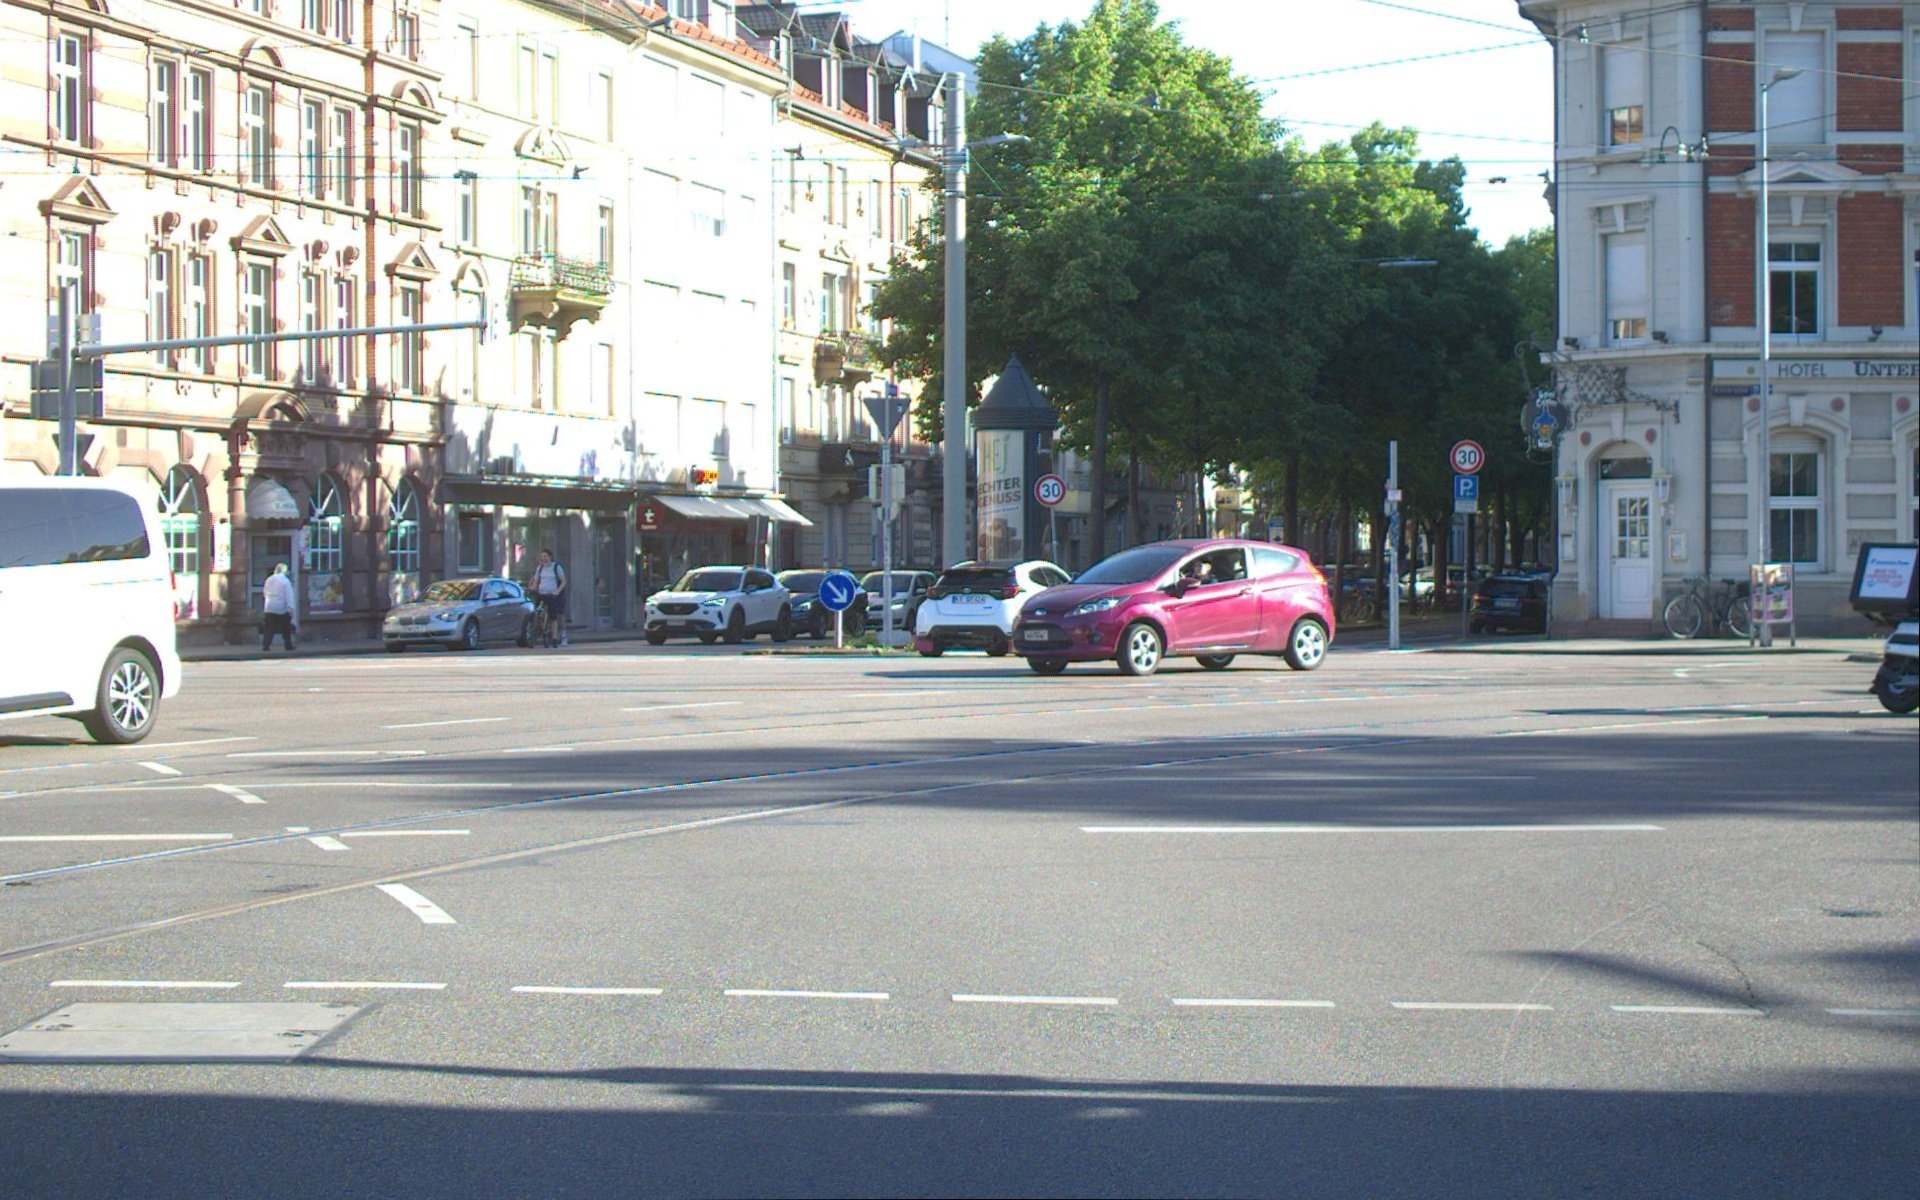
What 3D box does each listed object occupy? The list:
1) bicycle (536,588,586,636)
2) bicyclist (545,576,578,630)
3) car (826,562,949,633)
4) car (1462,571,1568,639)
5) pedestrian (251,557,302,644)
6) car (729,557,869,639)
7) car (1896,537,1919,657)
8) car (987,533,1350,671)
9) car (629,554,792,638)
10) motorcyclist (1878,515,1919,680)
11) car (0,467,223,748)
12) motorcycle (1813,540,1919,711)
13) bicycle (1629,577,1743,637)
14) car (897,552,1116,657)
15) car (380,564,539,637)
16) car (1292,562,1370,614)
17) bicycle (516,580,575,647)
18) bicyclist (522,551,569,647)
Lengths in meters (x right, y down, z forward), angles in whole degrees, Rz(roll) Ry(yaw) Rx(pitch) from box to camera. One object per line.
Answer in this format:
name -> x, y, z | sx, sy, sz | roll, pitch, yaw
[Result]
bicycle -> -7.815, 0.221, 67.357 | 0.473, 0.919, 1.451 | 1, 1, 14
bicyclist -> -7.814, 0.056, 67.366 | 0.473, 1.036, 0.537 | 1, 0, 15
car -> -1.652, -0.068, 79.614 | 1.804, 1.570, 3.888 | 1, 1, 15
car -> 13.342, 0.108, 82.503 | 1.758, 1.550, 3.996 | 1, 1, 20
pedestrian -> -12.900, 0.008, 64.911 | 0.568, 1.636, 0.792 | 1, 0, 23
car -> -3.424, -0.059, 73.601 | 1.826, 1.679, 3.872 | 1, 1, 16
car -> 14.330, -0.024, 42.780 | 4.858, 1.464, 1.804 | 0, 2, -1
car -> 2.308, -0.017, 37.626 | 3.870, 1.421, 1.595 | -1, 2, -38
car -> -4.840, -0.089, 67.288 | 1.804, 1.579, 4.156 | 1, 1, 17
motorcyclist -> 7.923, -0.018, 27.181 | 1.017, 1.296, 0.787 | 1, 1, 42
car -> -7.283, 0.041, 22.859 | 1.996, 1.848, 5.210 | 0, 1, 24
motorcycle -> 7.886, 0.206, 27.044 | 2.141, 1.329, 0.795 | 1, 1, 43
bicycle -> 12.066, 0.105, 57.129 | 1.804, 0.959, 0.603 | 1, 0, 14
car -> 0.746, 0.037, 51.836 | 1.894, 1.449, 4.004 | 0, 2, 23
car -> -9.710, -0.006, 67.018 | 1.661, 1.369, 3.889 | 1, 1, 15
car -> 12.595, -0.416, 116.519 | 1.995, 1.678, 3.997 | 1, 1, 15
bicycle -> -7.849, 0.243, 65.106 | 0.565, 1.250, 1.556 | 1, 0, 14
bicyclist -> -7.850, -0.031, 65.120 | 0.565, 1.797, 0.913 | 1, 0, 15
